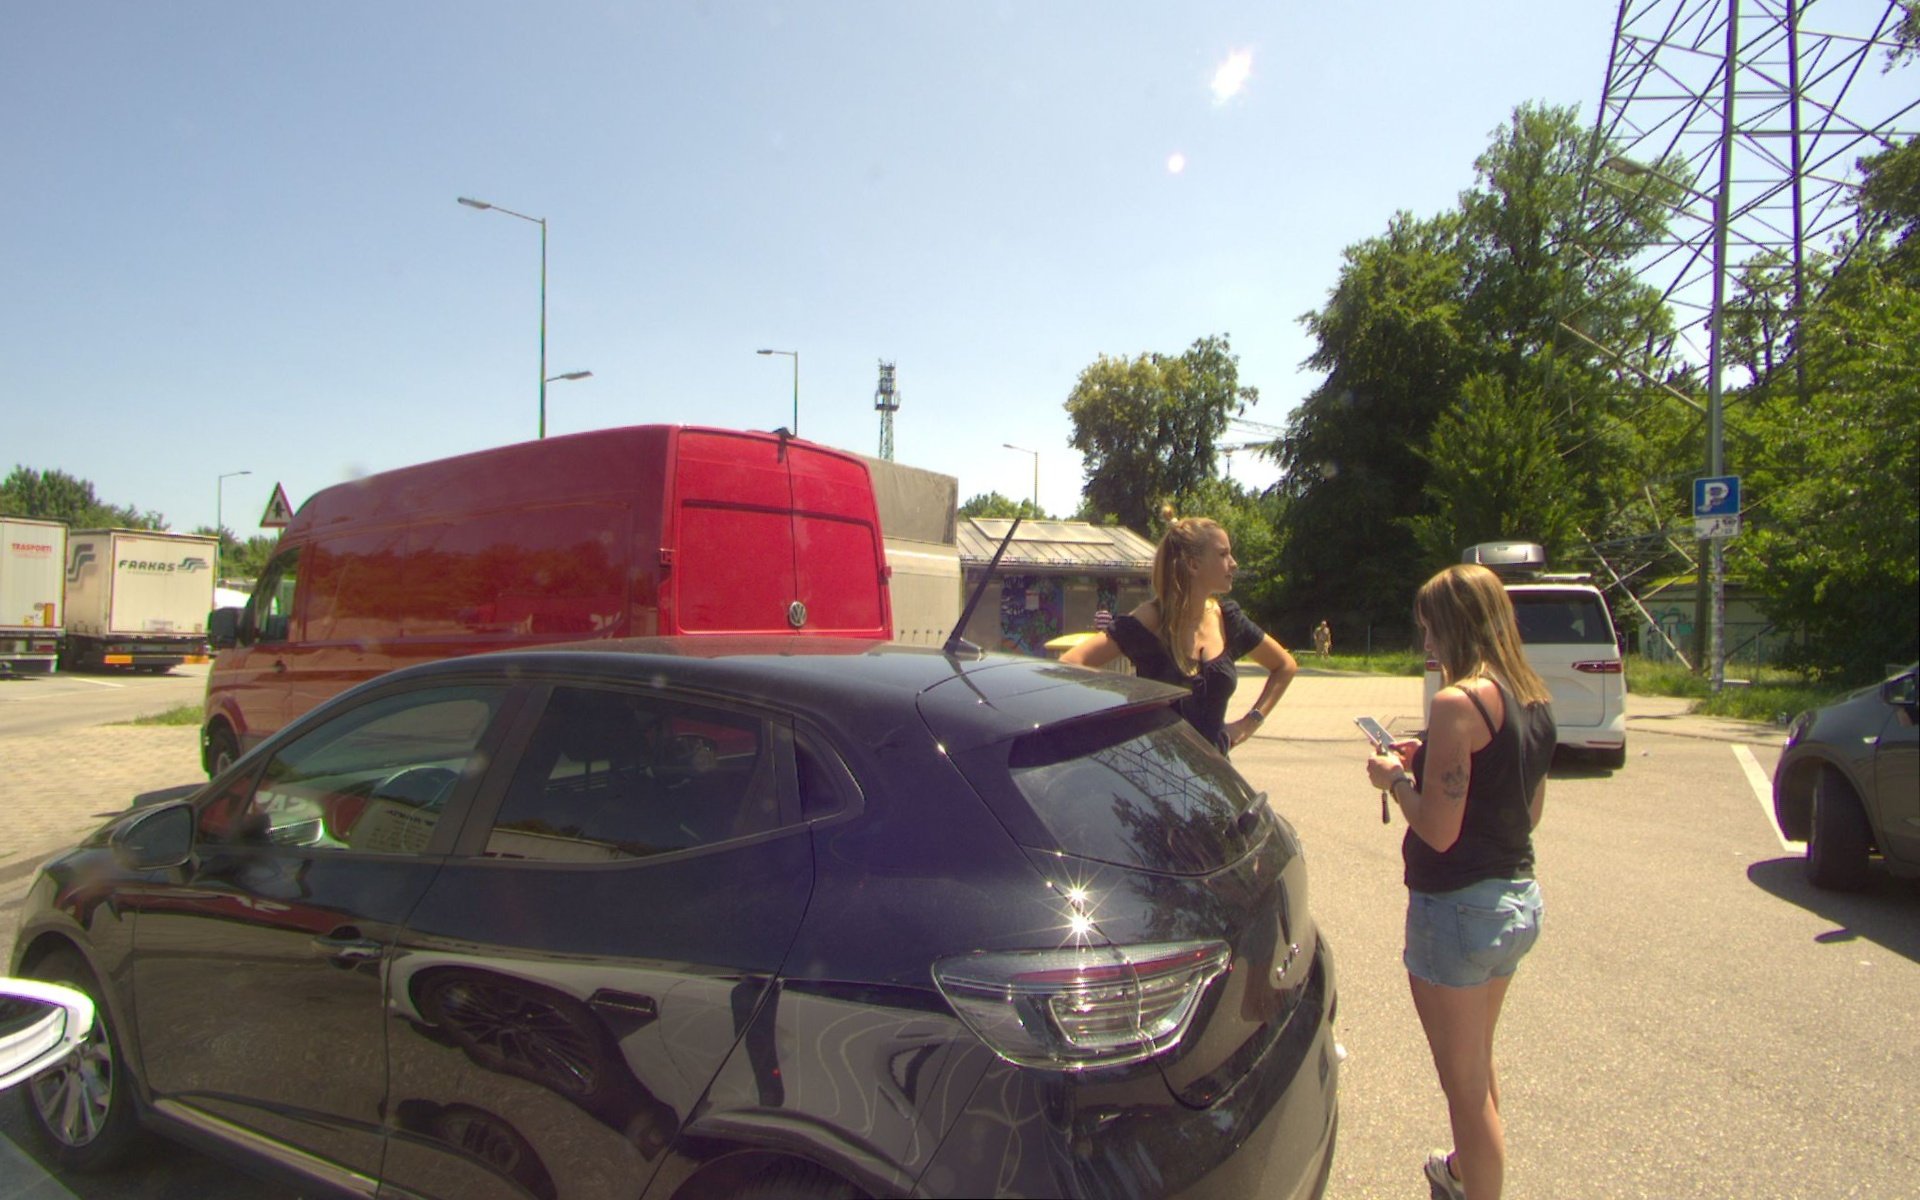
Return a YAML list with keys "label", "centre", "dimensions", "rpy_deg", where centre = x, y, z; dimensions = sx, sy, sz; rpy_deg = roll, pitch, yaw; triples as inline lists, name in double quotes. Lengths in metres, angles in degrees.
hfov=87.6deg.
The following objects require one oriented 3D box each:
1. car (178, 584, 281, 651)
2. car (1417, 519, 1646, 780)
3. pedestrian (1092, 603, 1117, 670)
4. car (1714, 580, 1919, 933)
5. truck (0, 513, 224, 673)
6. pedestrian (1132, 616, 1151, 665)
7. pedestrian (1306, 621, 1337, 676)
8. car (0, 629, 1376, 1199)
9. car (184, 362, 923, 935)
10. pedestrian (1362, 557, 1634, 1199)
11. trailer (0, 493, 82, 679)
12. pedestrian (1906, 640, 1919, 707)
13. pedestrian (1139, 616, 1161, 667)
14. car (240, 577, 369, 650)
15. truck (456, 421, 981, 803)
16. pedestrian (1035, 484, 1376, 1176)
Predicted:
- label: "car"
  centre: [-29.925, 0.752, 41.016]
  dimensions: [3.943, 2.632, 2.111]
  rpy_deg: [-1, -2, 32]
- label: "car"
  centre: [6.681, 0.513, 11.848]
  dimensions: [1.901, 2.401, 4.954]
  rpy_deg: [1, -1, 29]
- label: "pedestrian"
  centre: [3.897, 0.966, 26.968]
  dimensions: [0.520, 1.783, 0.651]
  rpy_deg: [0, 0, 23]
- label: "car"
  centre: [5.285, 0.726, 4.091]
  dimensions: [1.803, 1.638, 4.167]
  rpy_deg: [1, -1, 10]
- label: "truck"
  centre: [-27.068, -0.027, 31.176]
  dimensions: [11.800, 4.279, 2.582]
  rpy_deg: [-1, -2, 32]
- label: "pedestrian"
  centre: [5.081, 1.129, 28.003]
  dimensions: [0.439, 1.362, 0.477]
  rpy_deg: [0, 0, 23]
- label: "pedestrian"
  centre: [13.563, 1.825, 37.567]
  dimensions: [0.955, 2.039, 0.829]
  rpy_deg: [0, -1, 10]
- label: "car"
  centre: [-0.861, 0.834, 2.813]
  dimensions: [3.628, 1.476, 1.776]
  rpy_deg: [-1, -2, 27]
- label: "car"
  centre: [-3.365, 0.252, 7.338]
  dimensions: [6.298, 2.668, 1.988]
  rpy_deg: [0, -1, 36]
- label: "pedestrian"
  centre: [1.196, 0.732, 2.255]
  dimensions: [0.478, 1.615, 0.501]
  rpy_deg: [0, 0, 29]
- label: "trailer"
  centre: [-28.594, -0.343, 27.860]
  dimensions: [12.642, 4.511, 2.677]
  rpy_deg: [0, -1, 32]
- label: "pedestrian"
  centre: [17.123, 1.281, 17.429]
  dimensions: [0.694, 1.178, 0.787]
  rpy_deg: [-1, -1, 22]
- label: "pedestrian"
  centre: [5.595, 1.219, 29.508]
  dimensions: [0.521, 1.478, 0.576]
  rpy_deg: [0, 0, 23]
- label: "car"
  centre: [-29.454, 0.598, 44.933]
  dimensions: [6.259, 3.114, 2.495]
  rpy_deg: [0, -1, 32]
- label: "truck"
  centre: [-2.457, 0.173, 9.888]
  dimensions: [4.751, 2.863, 2.514]
  rpy_deg: [-1, -2, 34]
- label: "pedestrian"
  centre: [0.751, 0.638, 3.111]
  dimensions: [0.897, 1.884, 0.486]
  rpy_deg: [1, 0, -20]
